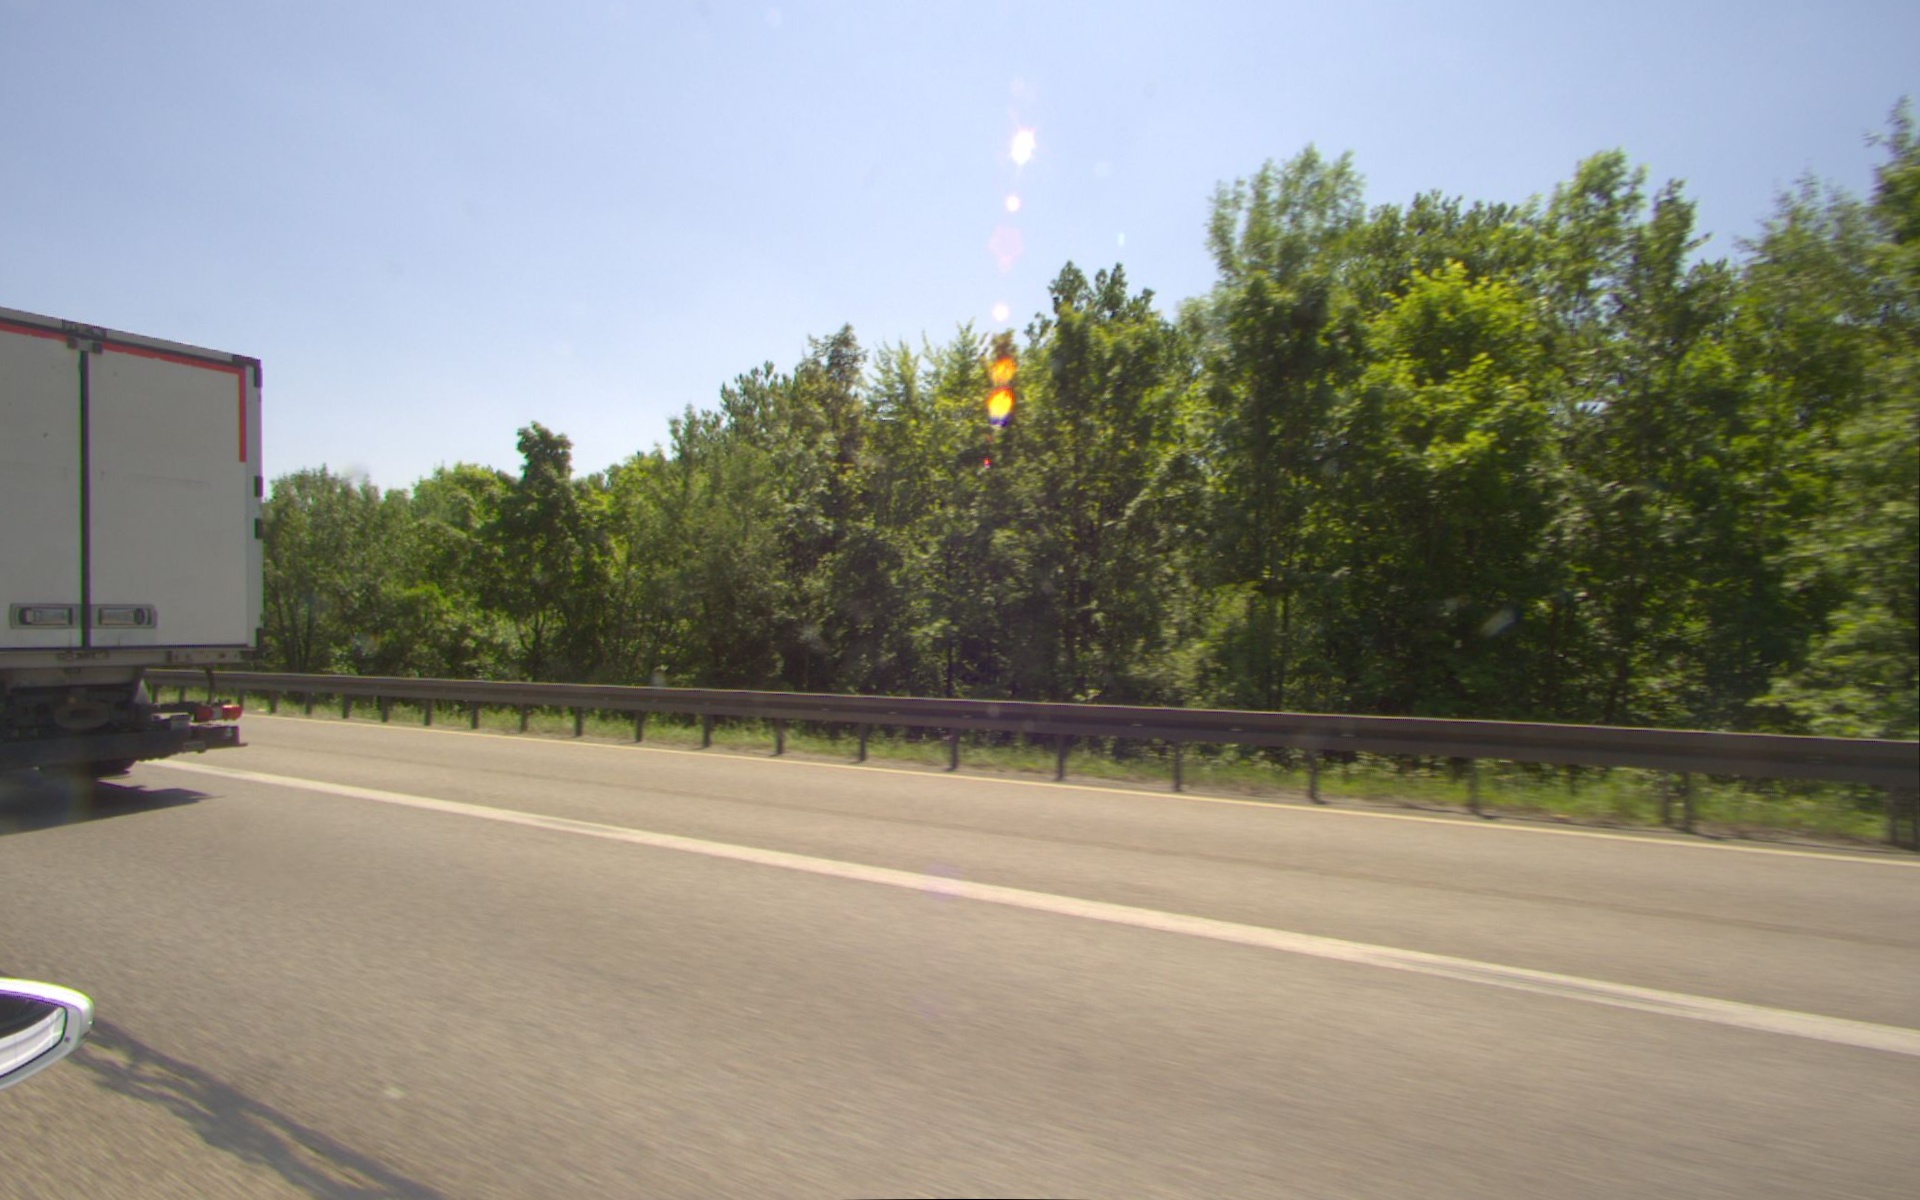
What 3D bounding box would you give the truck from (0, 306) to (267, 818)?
[{"bbox_3d":[-11.139,-0.197,10.697,9.642,3.926,2.683,-1,-1,33],"label":"truck"}]
